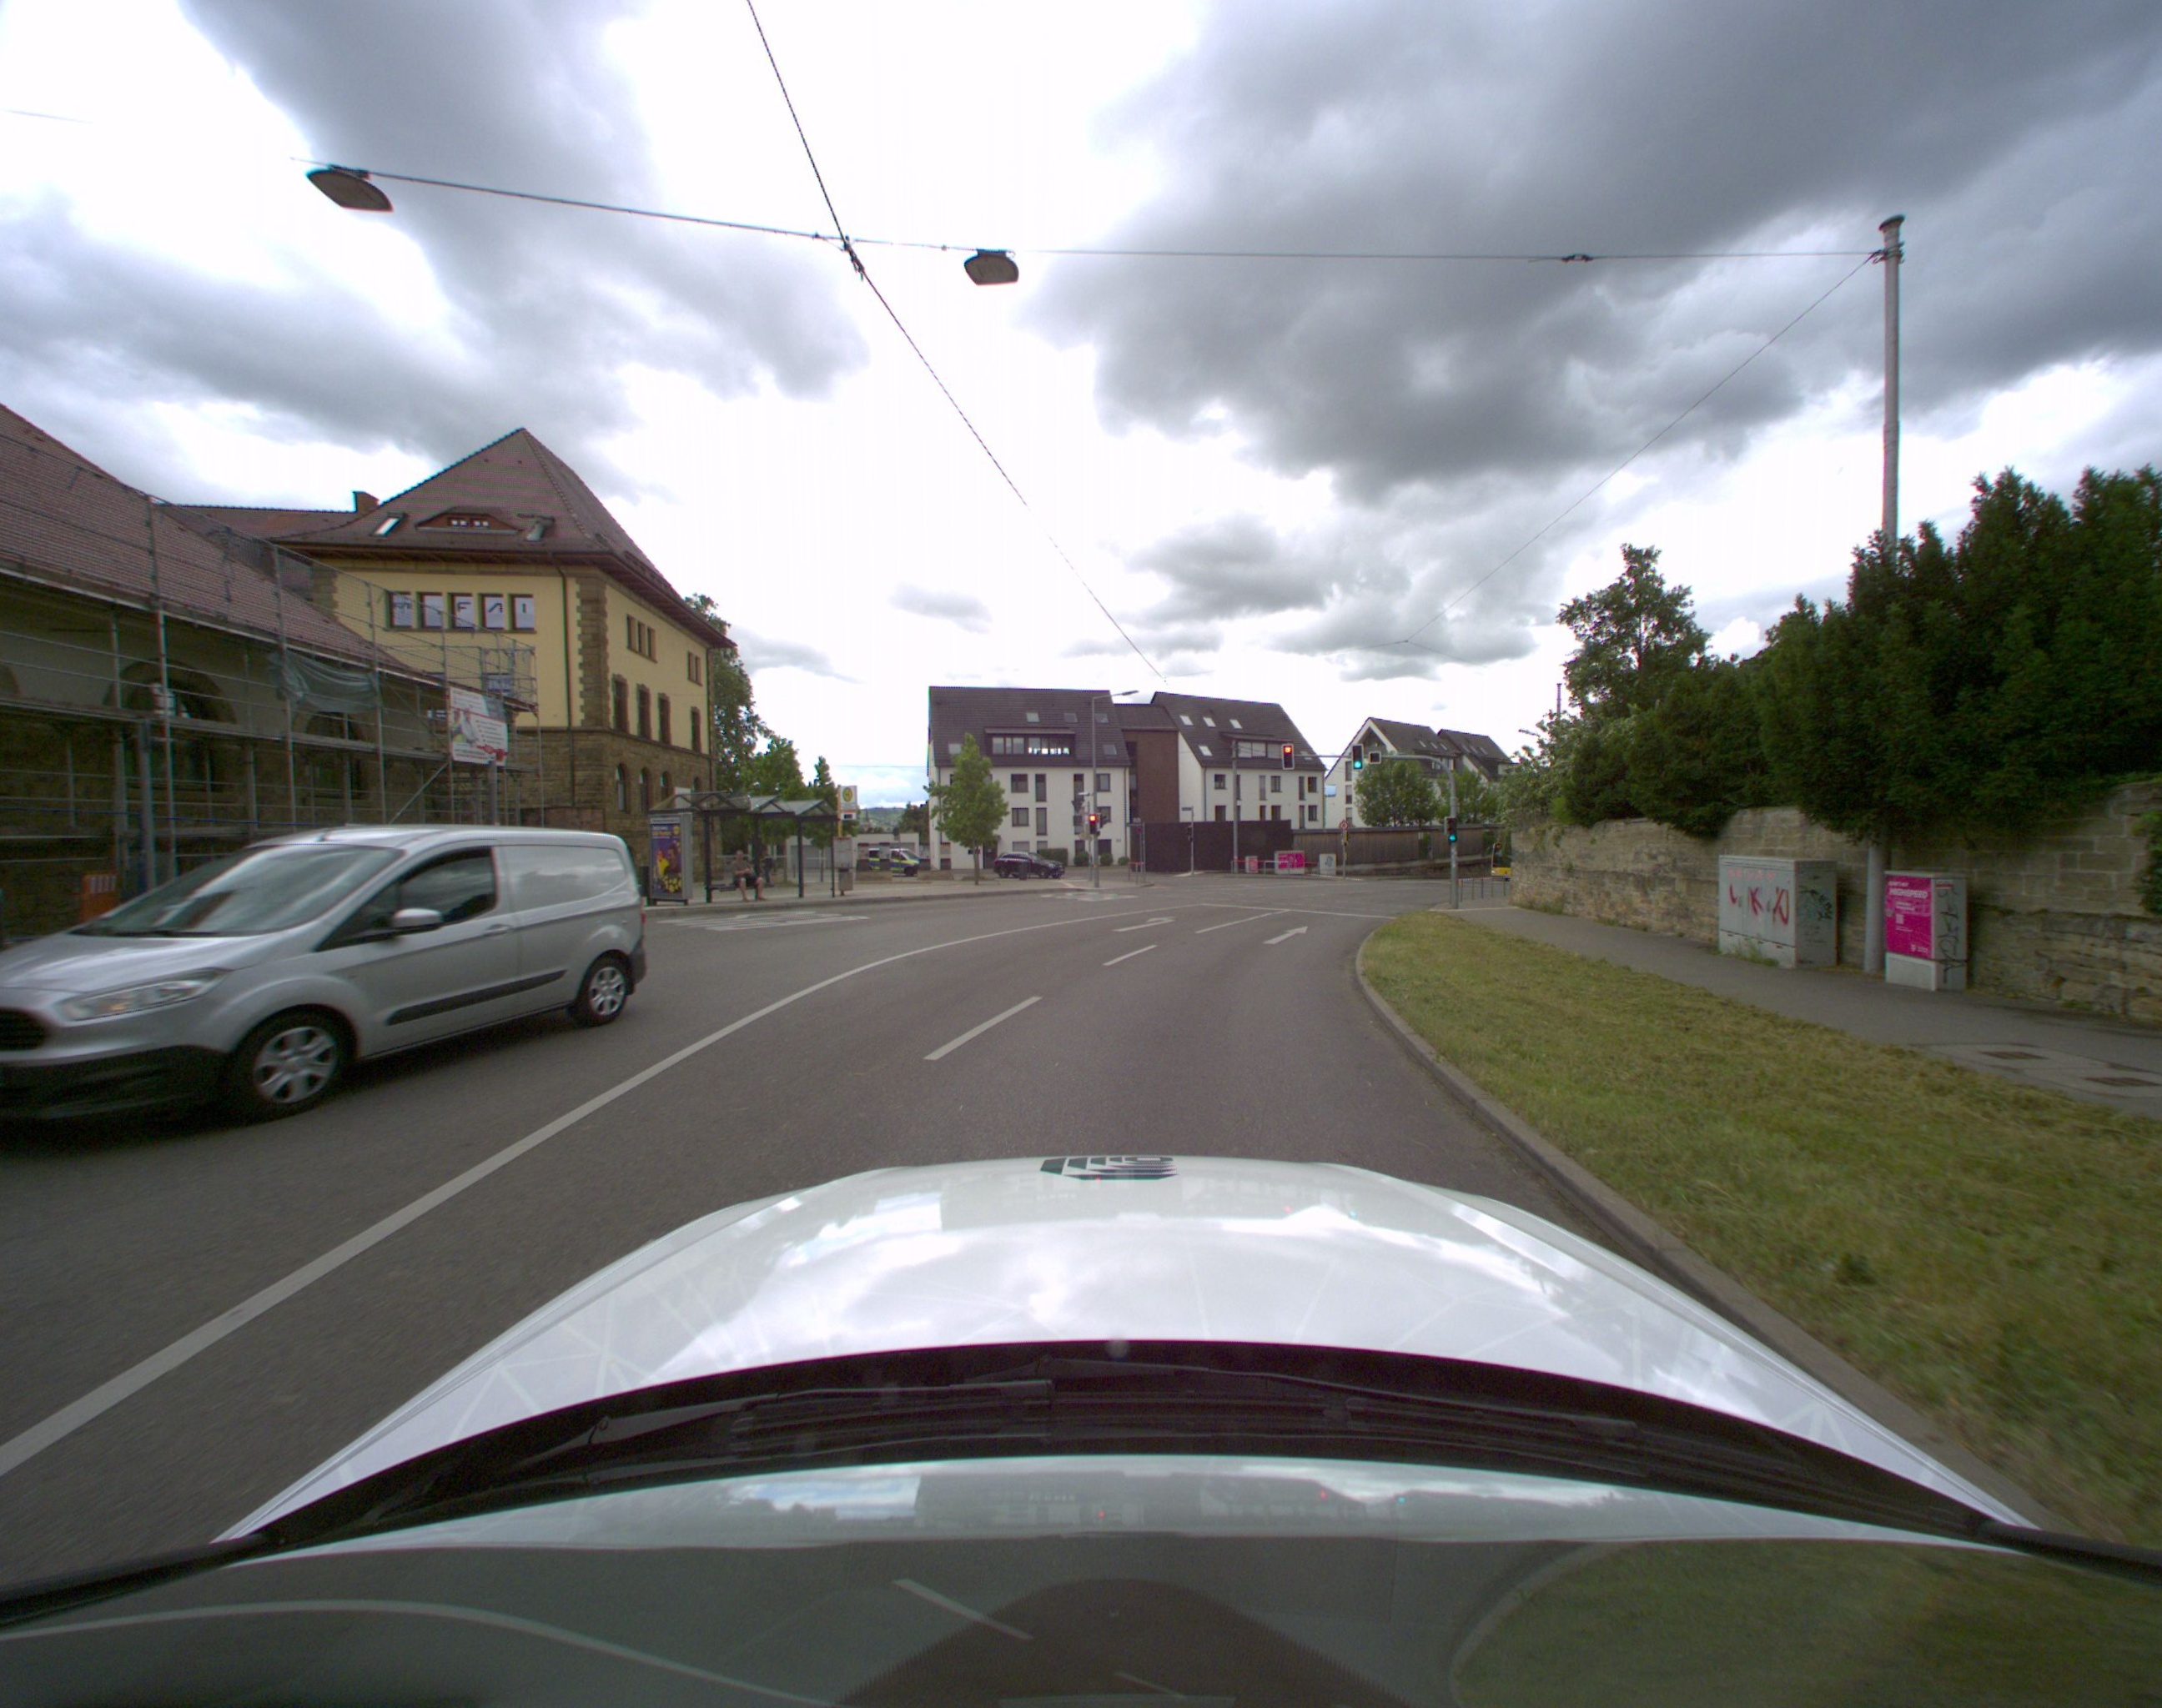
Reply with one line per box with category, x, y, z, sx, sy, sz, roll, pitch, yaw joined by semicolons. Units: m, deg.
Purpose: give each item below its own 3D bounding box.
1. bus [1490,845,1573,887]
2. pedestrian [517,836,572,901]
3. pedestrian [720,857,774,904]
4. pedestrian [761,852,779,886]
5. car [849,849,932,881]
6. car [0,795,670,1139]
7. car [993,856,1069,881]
bus;36.727;1.003;66.202;10.072;3.121;2.635;1;1;-42
pedestrian;-14.550;0.384;22.090;0.921;1.720;0.797;1;-1;-4
pedestrian;-8.874;0.691;21.638;0.924;1.192;0.910;0;-1;22
pedestrian;-14.578;0.704;38.195;0.535;1.577;0.655;1;-1;8
car;-12.810;0.727;54.866;5.039;2.014;2.007;1;-1;13
car;-5.080;0.554;5.951;1.683;1.614;4.090;1;-1;6
car;-3.130;0.886;50.931;4.220;1.513;2.011;0;-1;25
